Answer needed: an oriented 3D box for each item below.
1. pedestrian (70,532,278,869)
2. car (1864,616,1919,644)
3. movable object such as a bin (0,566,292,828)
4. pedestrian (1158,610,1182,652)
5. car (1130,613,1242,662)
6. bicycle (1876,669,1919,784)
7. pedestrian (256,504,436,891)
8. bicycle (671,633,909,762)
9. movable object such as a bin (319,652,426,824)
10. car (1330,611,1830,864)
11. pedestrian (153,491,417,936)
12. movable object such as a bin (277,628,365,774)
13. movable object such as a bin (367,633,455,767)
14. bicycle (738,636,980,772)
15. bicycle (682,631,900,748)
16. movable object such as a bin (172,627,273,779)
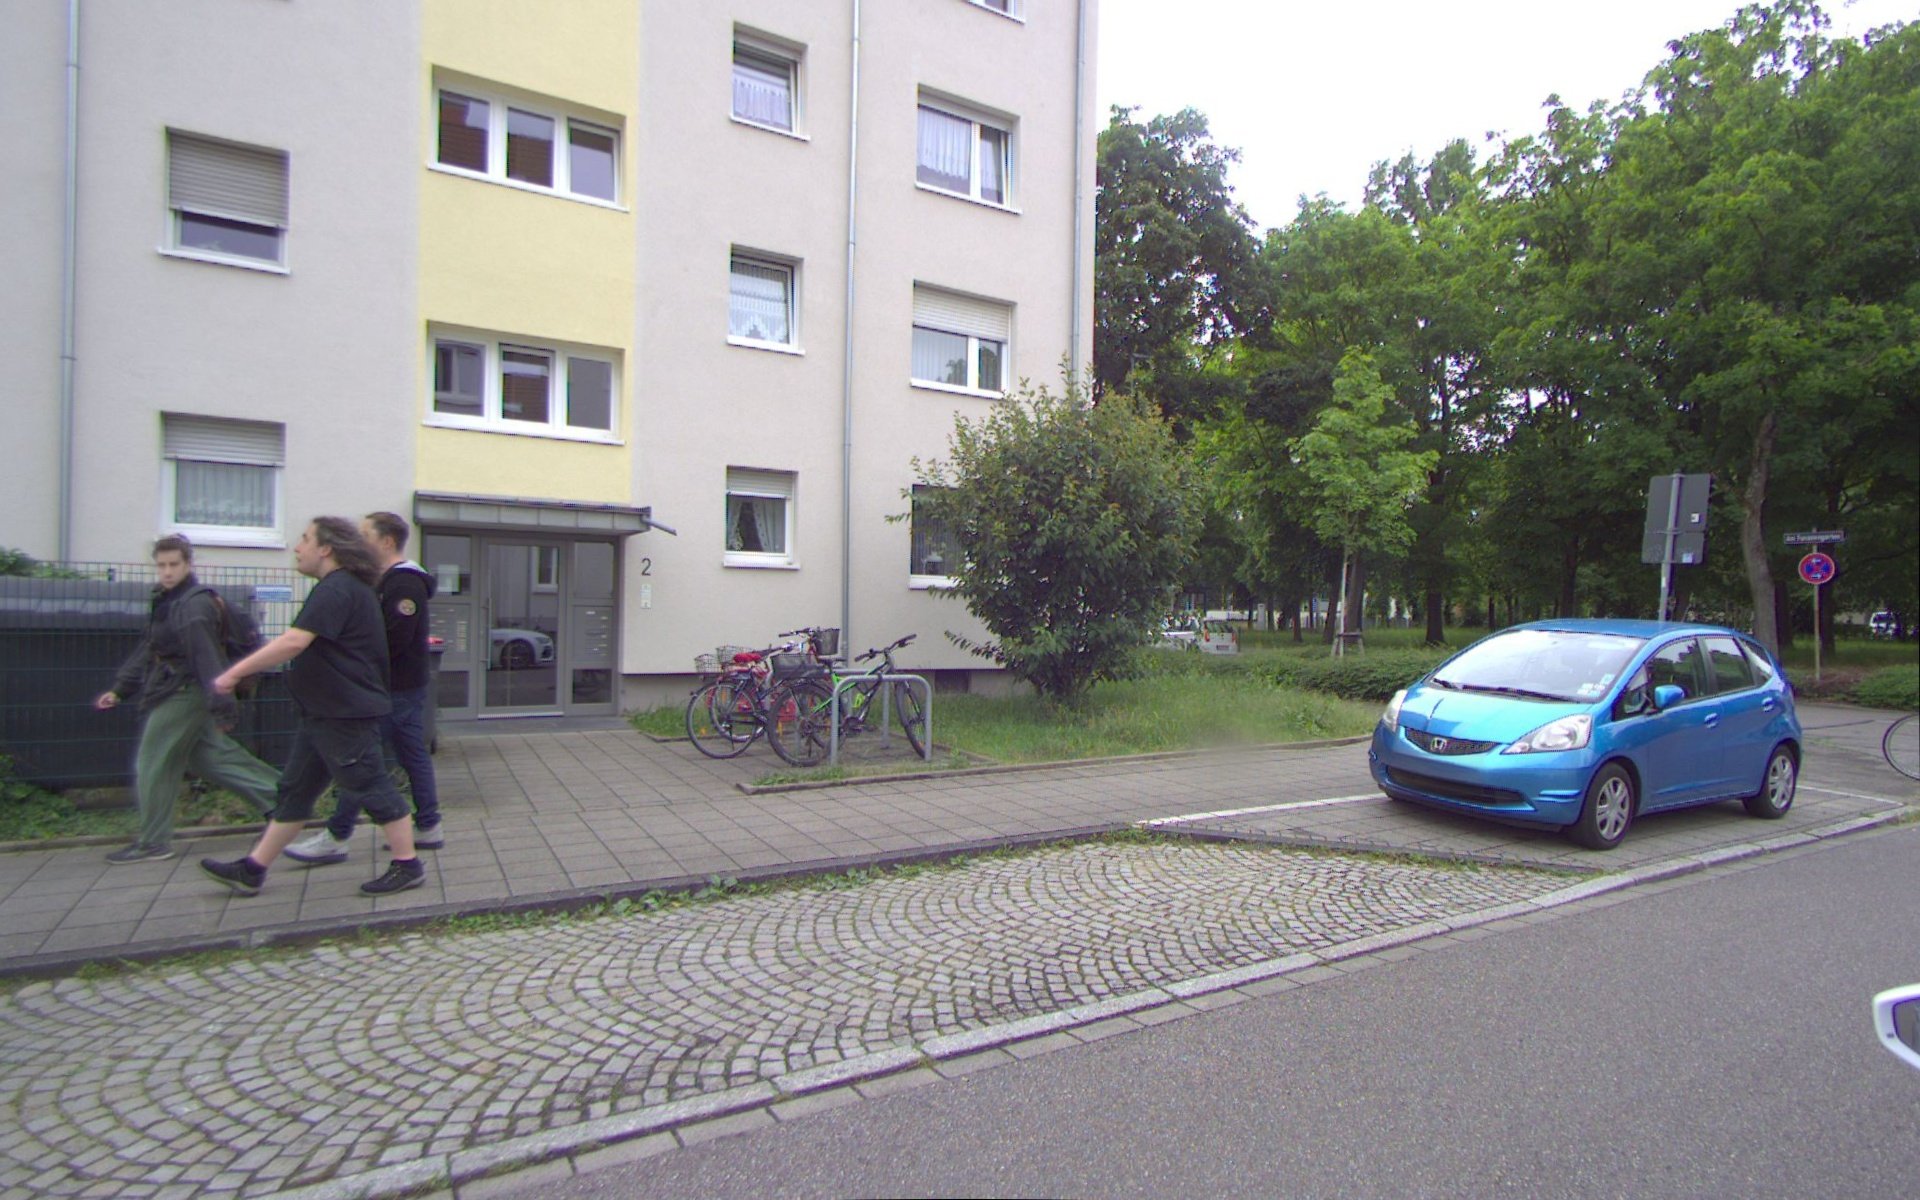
[{"bbox_3d":[-4.231,0.506,5.469,0.794,1.679,0.611,1,0,-31],"label":"pedestrian"},{"bbox_3d":[57.151,1.816,61.404,3.959,1.639,1.906,1,-1,-34],"label":"car"},{"bbox_3d":[-5.318,0.536,6.421,1.652,1.440,1.581,1,0,-31],"label":"movable object such as a bin"},{"bbox_3d":[8.172,1.201,39.087,0.648,1.604,0.693,0,0,-28],"label":"pedestrian"},{"bbox_3d":[7.260,1.181,32.580,1.549,1.456,3.514,1,0,-31],"label":"car"},{"bbox_3d":[10.216,1.264,9.802,0.533,1.134,1.799,1,-2,-37],"label":"bicycle"},{"bbox_3d":[-3.255,0.481,5.373,0.754,1.879,0.703,1,0,-31],"label":"pedestrian"},{"bbox_3d":[-1.585,0.872,9.543,2.149,1.085,0.654,1,0,-30],"label":"bicycle"},{"bbox_3d":[-3.923,0.889,6.714,0.591,1.047,0.534,1,0,-32],"label":"movable object such as a bin"},{"bbox_3d":[4.965,0.892,7.950,3.911,1.482,1.721,1,2,-31],"label":"car"},{"bbox_3d":[-3.147,0.482,4.767,0.963,1.888,0.637,1,2,-31],"label":"pedestrian"},{"bbox_3d":[-5.378,0.814,8.470,0.591,1.131,0.837,1,0,-33],"label":"movable object such as a bin"},{"bbox_3d":[-4.801,0.838,8.765,0.627,1.065,0.859,1,0,-32],"label":"movable object such as a bin"},{"bbox_3d":[-0.883,0.883,9.077,2.097,1.082,0.654,1,0,-30],"label":"bicycle"},{"bbox_3d":[-1.723,0.881,10.410,2.149,1.085,0.654,1,0,-30],"label":"bicycle"},{"bbox_3d":[-5.928,0.789,8.112,0.591,1.131,0.837,1,0,-33],"label":"movable object such as a bin"}]
